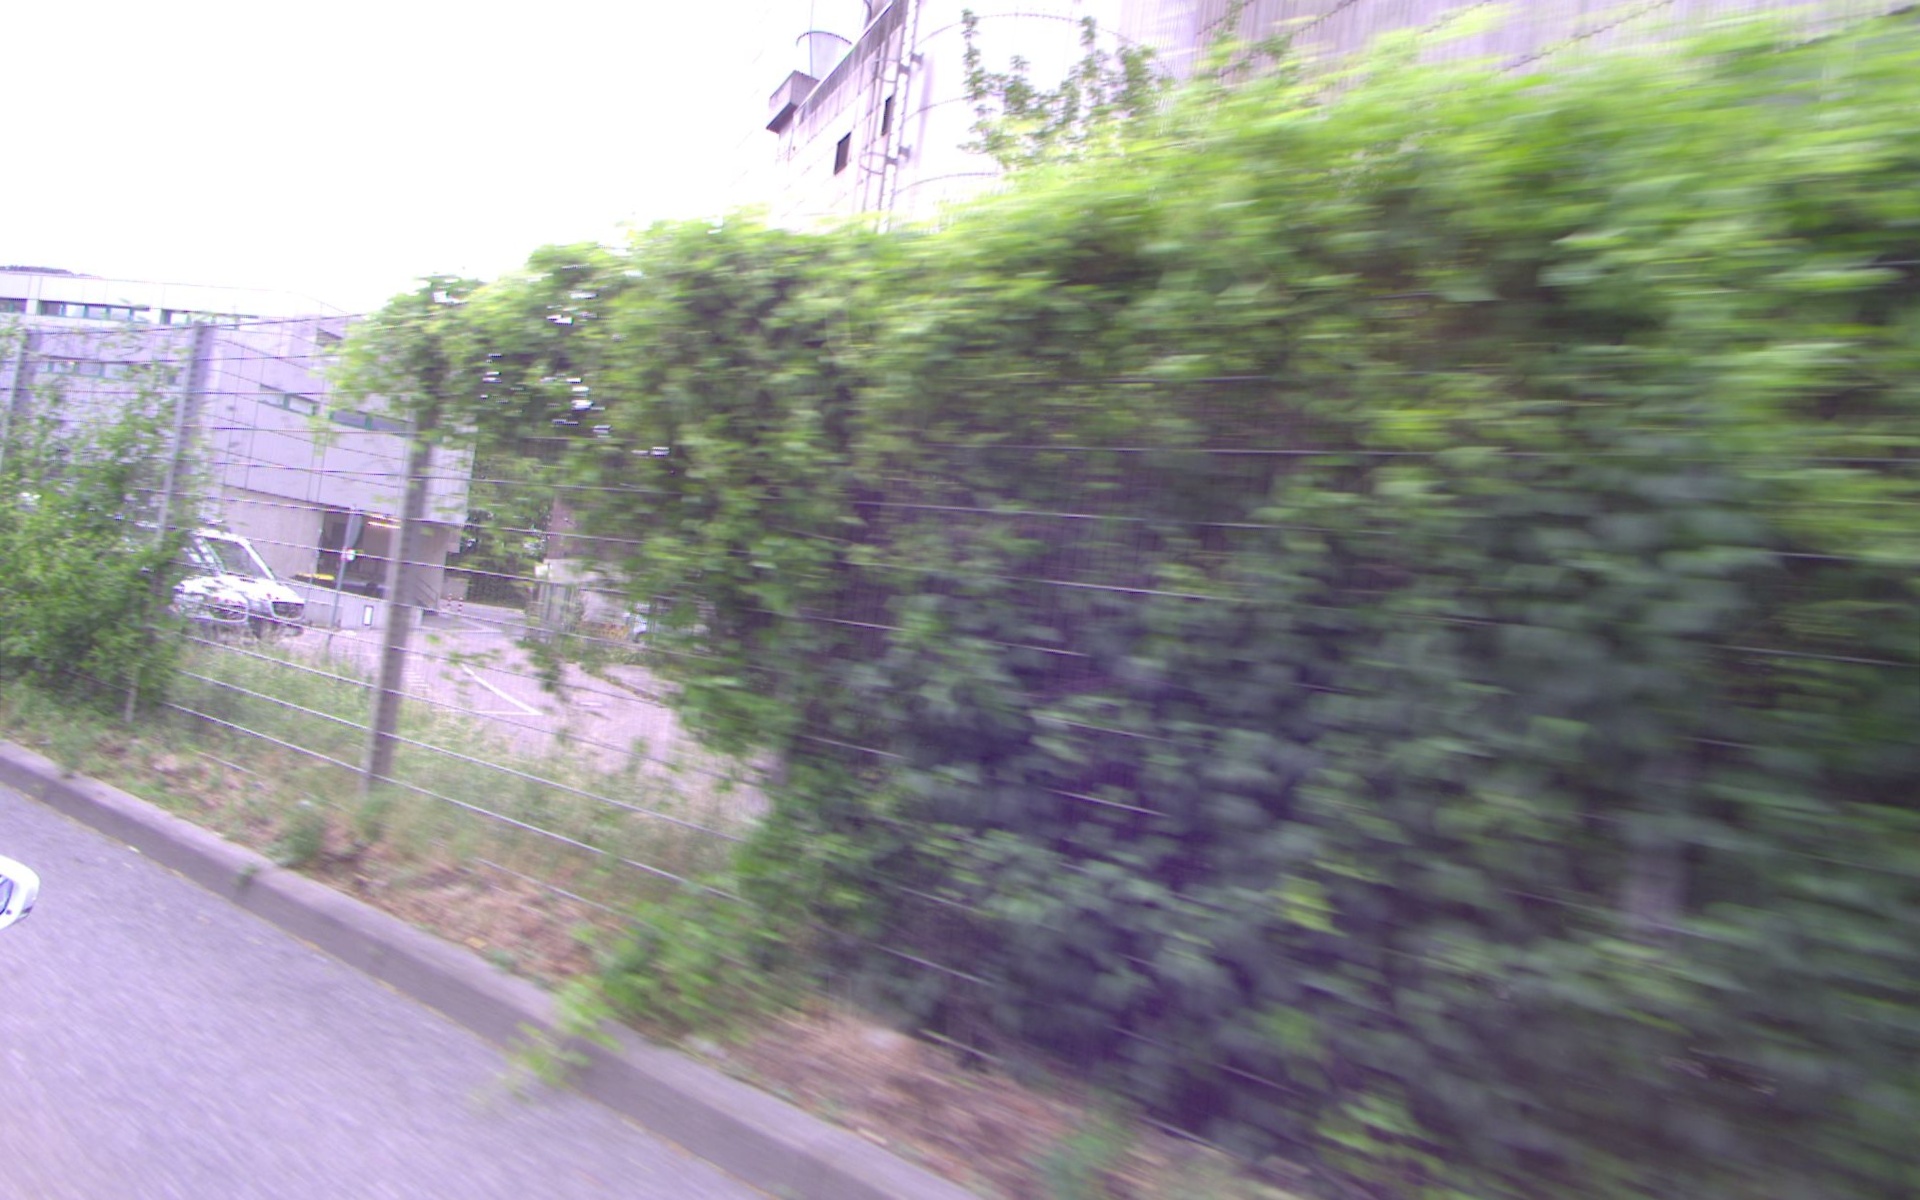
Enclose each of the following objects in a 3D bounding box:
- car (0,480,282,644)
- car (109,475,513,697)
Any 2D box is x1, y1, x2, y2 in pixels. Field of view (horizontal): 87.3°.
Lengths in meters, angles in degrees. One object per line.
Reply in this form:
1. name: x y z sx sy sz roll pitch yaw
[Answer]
1. car: -15.740 -0.757 17.541 6.060 2.288 2.000 7 -2 -5
2. car: -7.609 -0.217 11.660 4.768 2.036 1.997 5 -3 33
